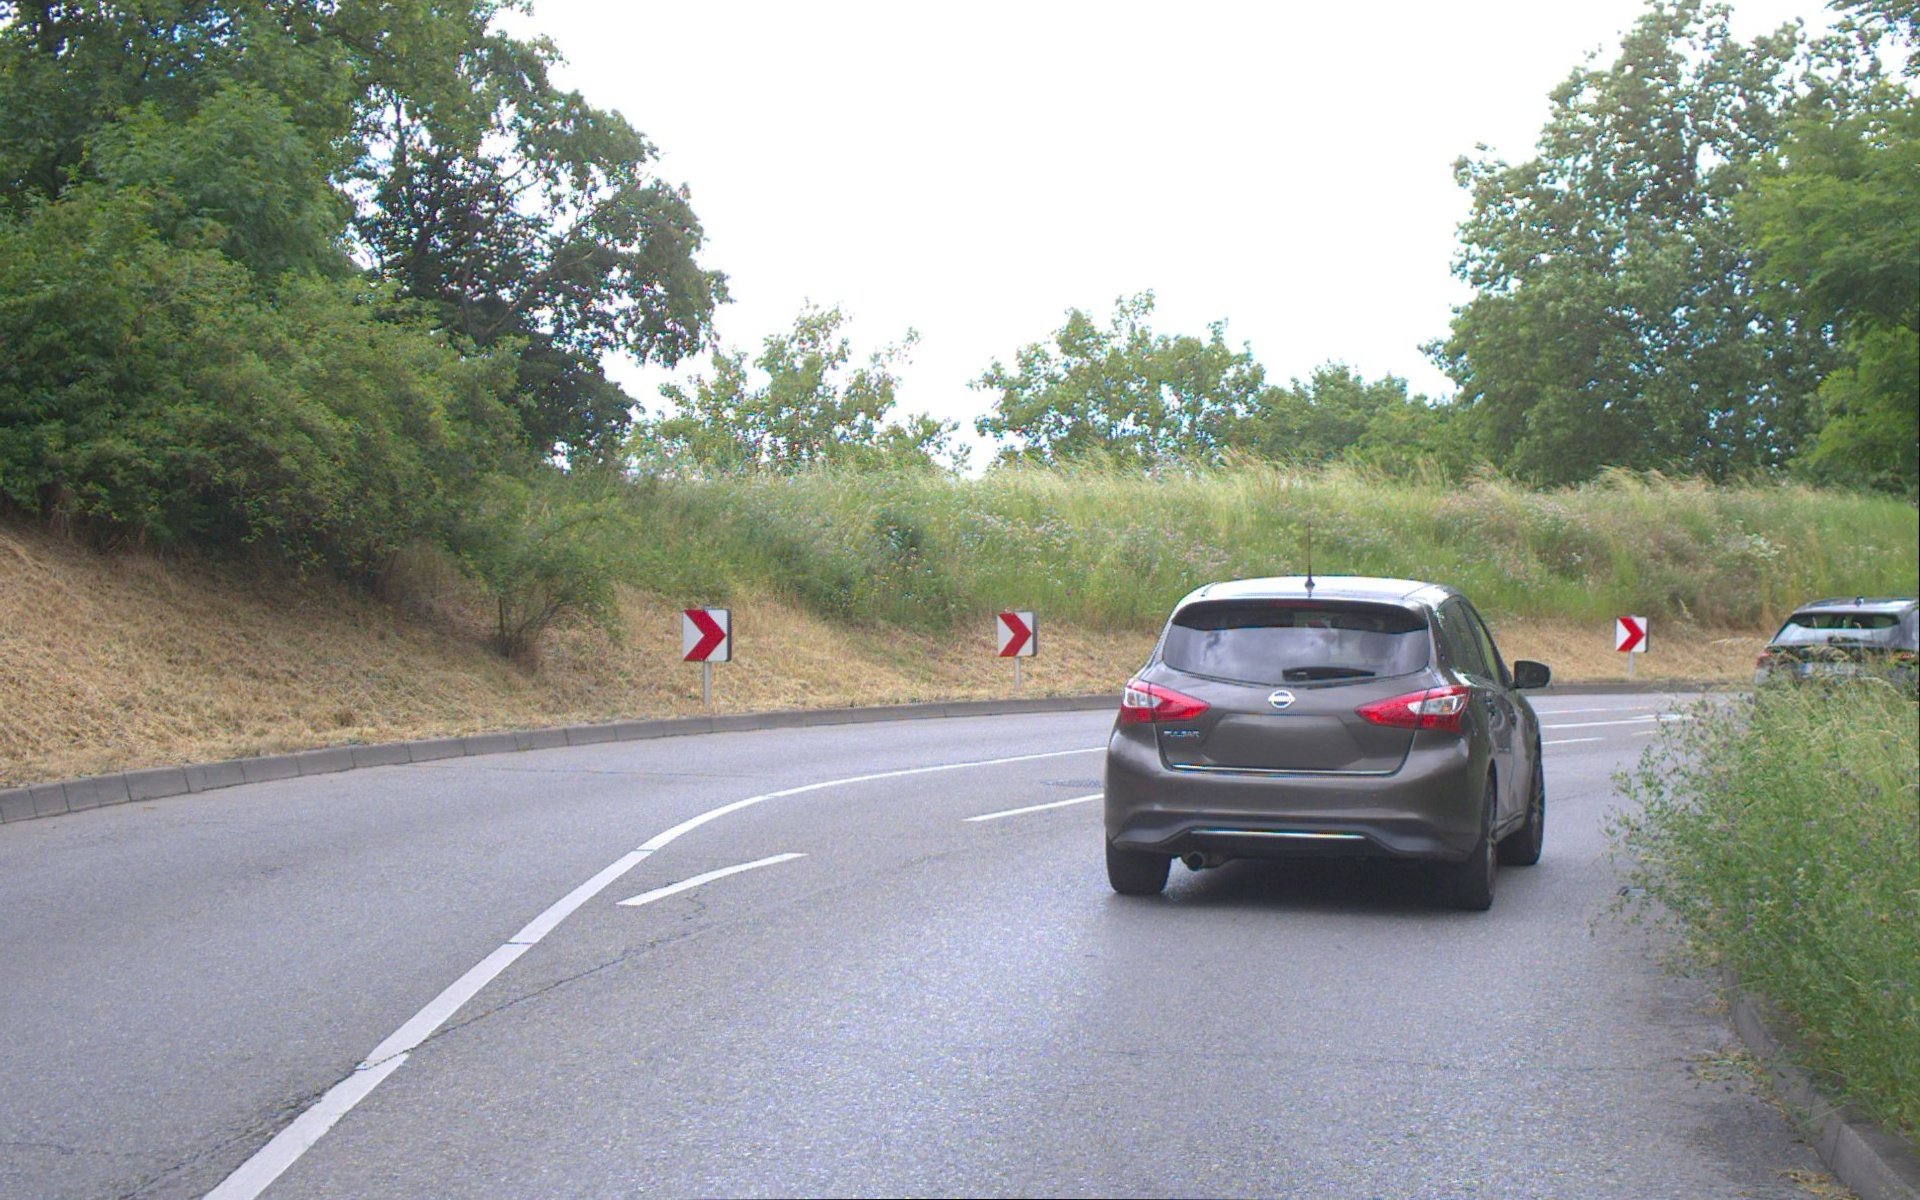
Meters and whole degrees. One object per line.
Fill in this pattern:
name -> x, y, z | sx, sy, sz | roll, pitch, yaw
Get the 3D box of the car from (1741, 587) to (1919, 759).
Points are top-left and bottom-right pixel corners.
car -> 8.889, 0.648, 32.754 | 1.902, 1.461, 3.994 | 2, 1, 27

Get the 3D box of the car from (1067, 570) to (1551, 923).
car -> 1.853, 0.617, 17.080 | 1.846, 1.488, 3.998 | 1, 1, 14
